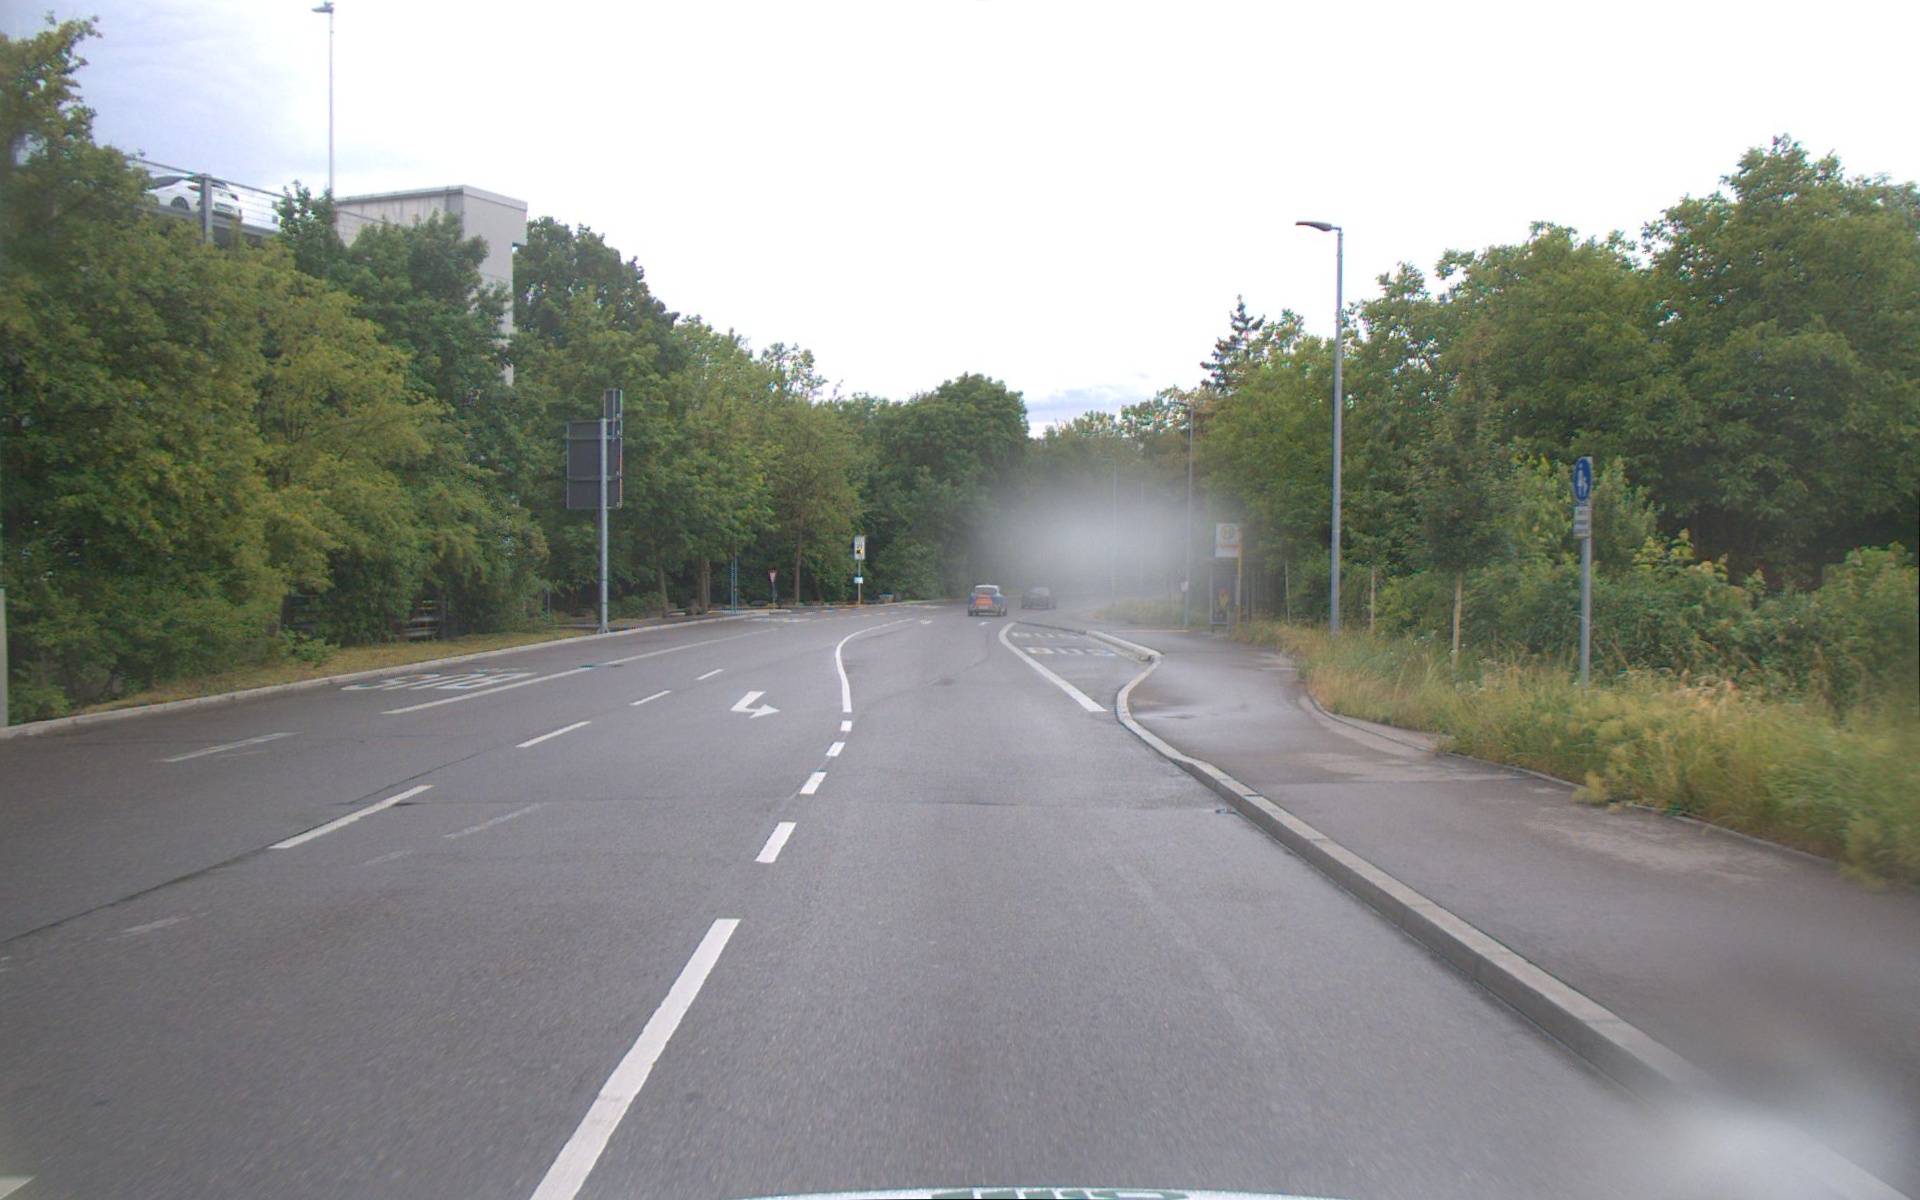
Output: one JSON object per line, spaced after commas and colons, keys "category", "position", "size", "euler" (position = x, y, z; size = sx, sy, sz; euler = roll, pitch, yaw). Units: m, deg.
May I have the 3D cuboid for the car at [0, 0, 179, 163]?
{"category": "car", "position": [-14.099, -7.922, 25.220], "size": [3.910, 1.545, 1.998], "euler": [-1, 0, 28]}

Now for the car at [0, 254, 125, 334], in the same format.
{"category": "car", "position": [-23.406, -7.878, 42.685], "size": [3.167, 1.545, 1.586], "euler": [-1, 0, 21]}

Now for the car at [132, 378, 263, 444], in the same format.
{"category": "car", "position": [-21.532, -5.312, 46.718], "size": [3.167, 1.545, 1.586], "euler": [-1, 0, 21]}

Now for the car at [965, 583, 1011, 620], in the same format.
{"category": "car", "position": [1.449, 0.051, 84.779], "size": [1.951, 1.718, 4.004], "euler": [0, 2, 6]}

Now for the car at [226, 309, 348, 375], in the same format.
{"category": "car", "position": [-20.409, -7.802, 50.165], "size": [3.167, 1.545, 1.586], "euler": [-1, 0, 21]}

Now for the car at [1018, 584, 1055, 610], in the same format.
{"category": "car", "position": [4.879, -0.205, 104.912], "size": [1.886, 1.512, 3.803], "euler": [0, 2, 10]}

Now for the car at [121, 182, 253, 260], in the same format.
{"category": "car", "position": [-21.760, -10.645, 46.566], "size": [3.167, 1.545, 1.586], "euler": [-1, 0, 21]}
